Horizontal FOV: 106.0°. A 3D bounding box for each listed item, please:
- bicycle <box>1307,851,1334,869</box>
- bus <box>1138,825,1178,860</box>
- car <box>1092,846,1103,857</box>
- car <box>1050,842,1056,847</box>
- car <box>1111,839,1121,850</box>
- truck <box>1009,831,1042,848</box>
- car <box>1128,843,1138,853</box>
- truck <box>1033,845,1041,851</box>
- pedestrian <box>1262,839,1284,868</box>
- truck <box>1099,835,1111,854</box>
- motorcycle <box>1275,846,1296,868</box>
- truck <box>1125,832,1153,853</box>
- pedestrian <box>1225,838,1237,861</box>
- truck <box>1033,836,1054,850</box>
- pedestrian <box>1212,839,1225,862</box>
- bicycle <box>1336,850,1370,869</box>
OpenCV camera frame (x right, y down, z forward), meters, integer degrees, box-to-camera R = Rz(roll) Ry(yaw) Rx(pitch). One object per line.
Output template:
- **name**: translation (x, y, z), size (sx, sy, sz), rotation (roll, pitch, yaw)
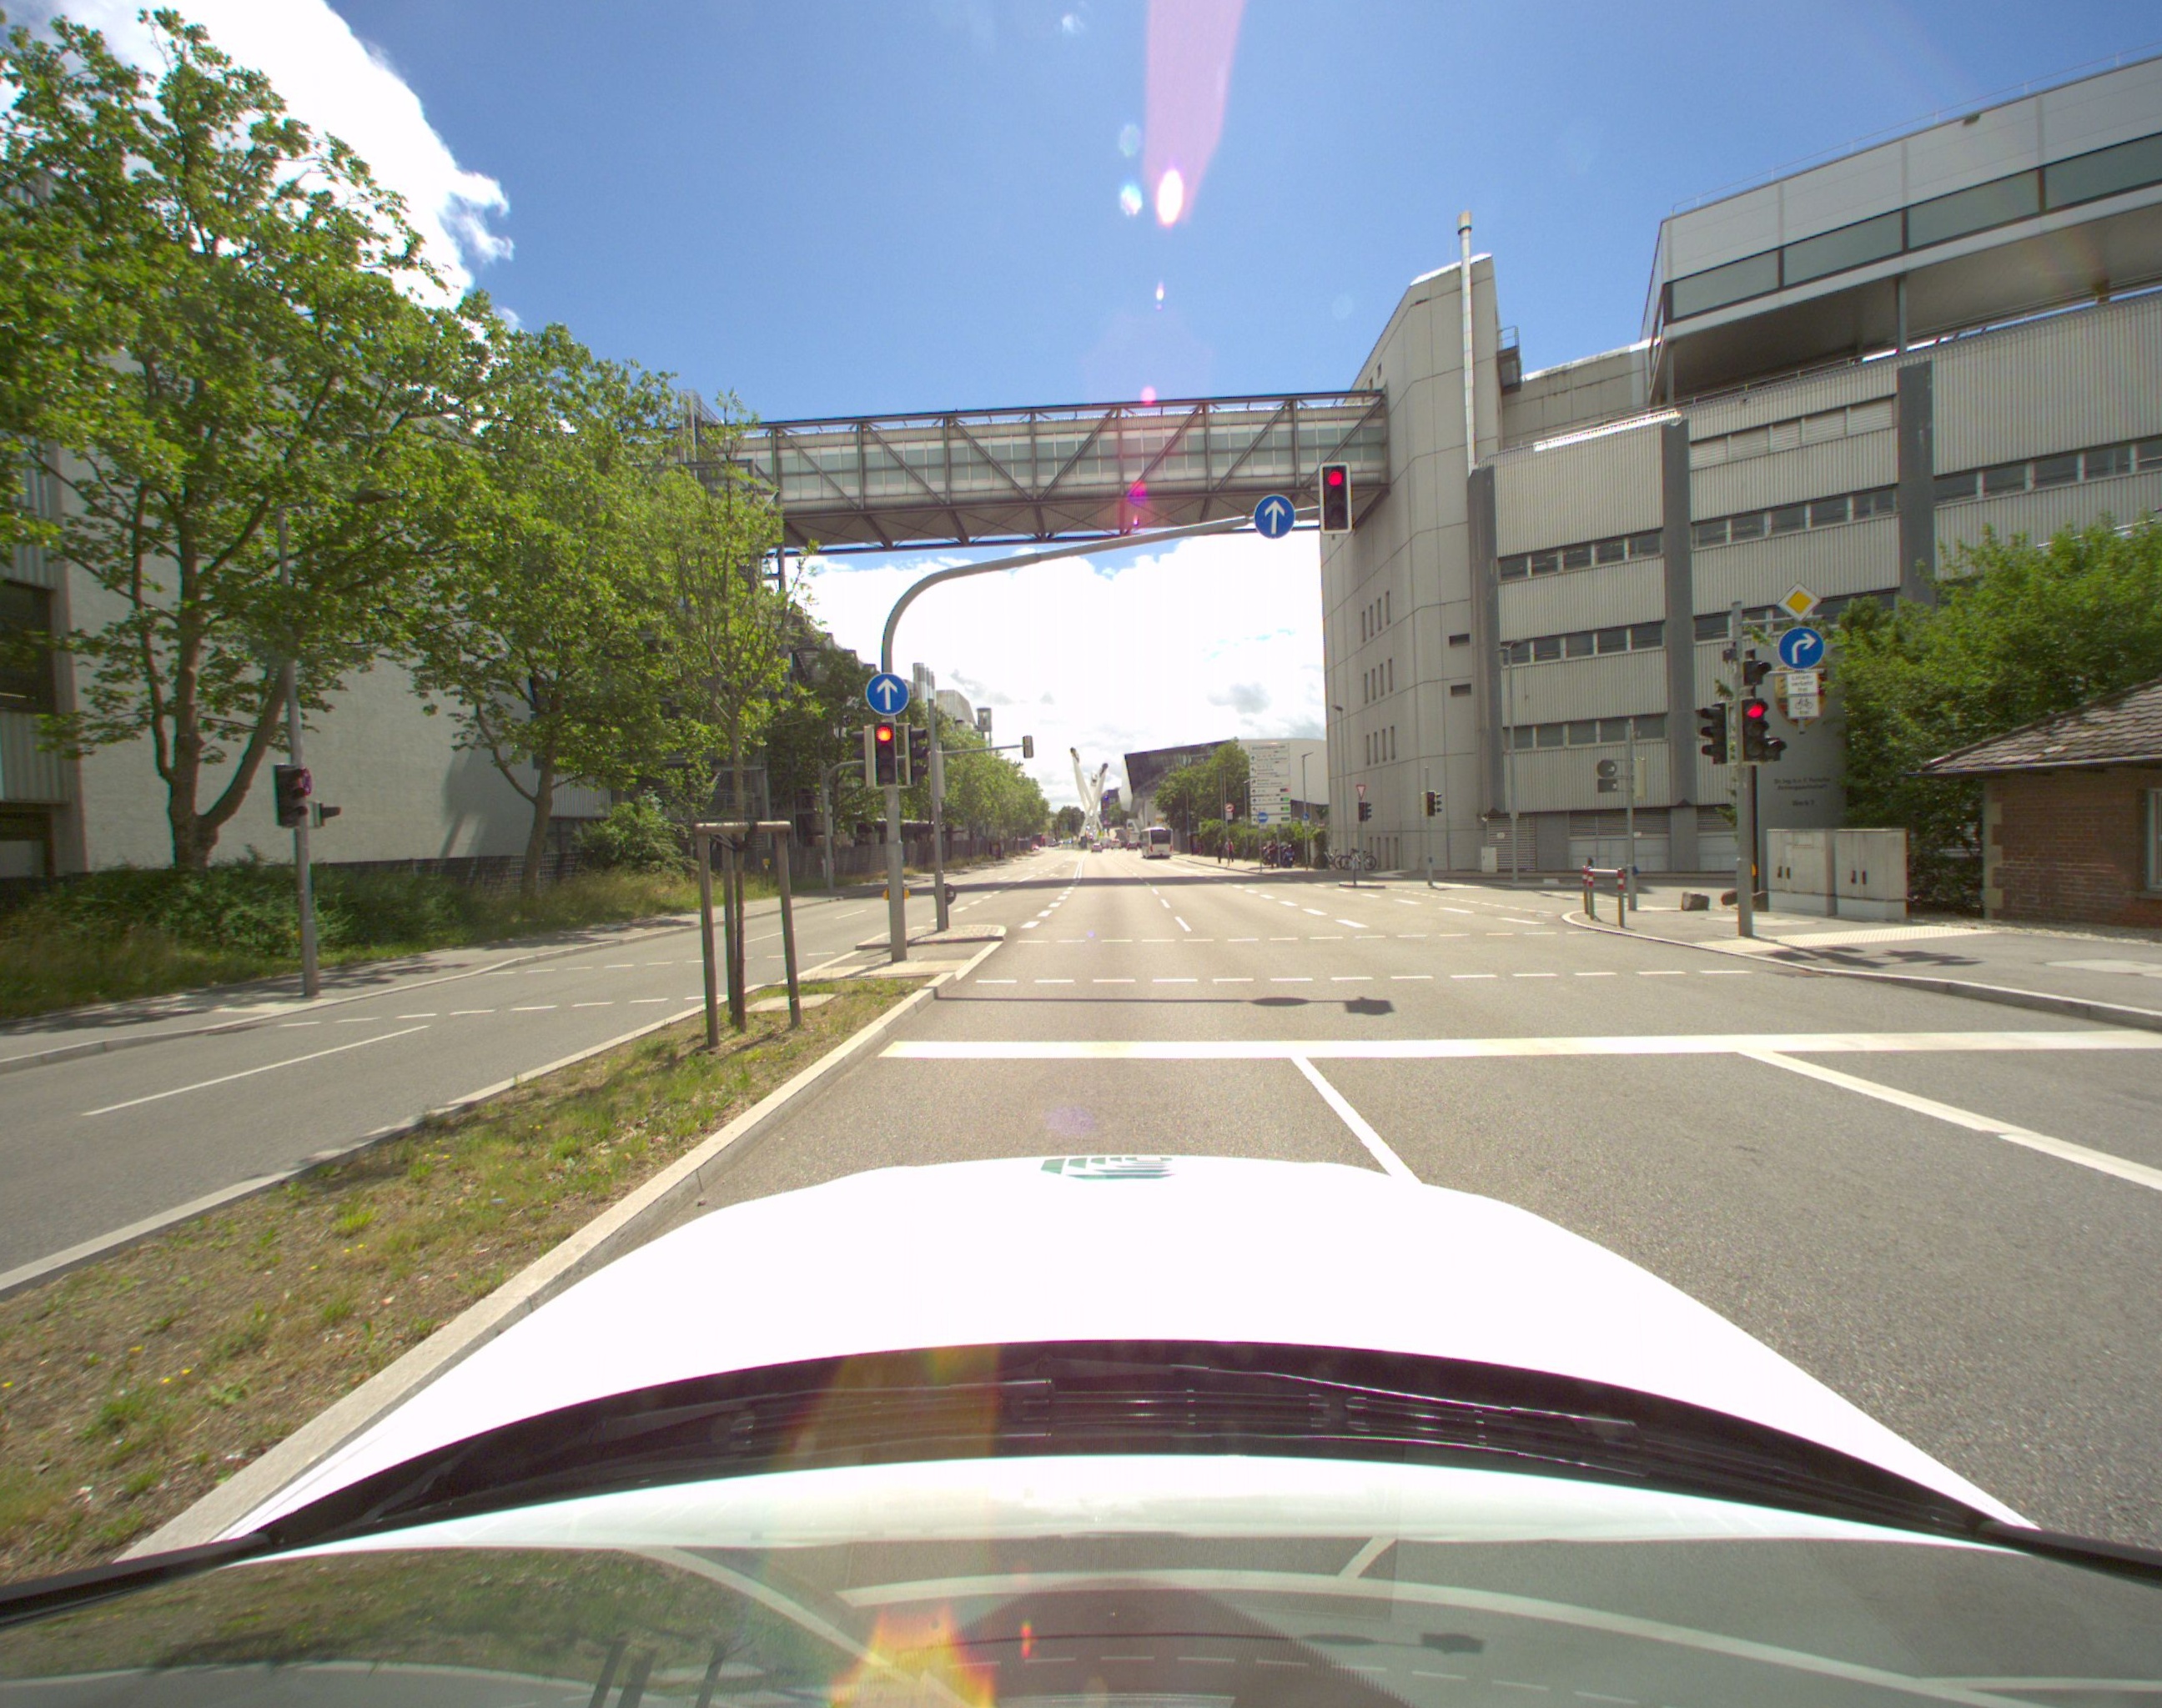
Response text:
- **bicycle**: translation (12.546, 0.305, 42.721), size (0.398, 0.937, 1.917), rotation (-1, 0, -17)
- **bus**: translation (8.412, -1.228, 90.297), size (3.441, 3.543, 10.606), rotation (-1, 0, 1)
- **car**: translation (2.733, -0.451, 134.504), size (1.732, 1.741, 3.693), rotation (-1, 0, 2)
- **car**: translation (-7.832, -2.655, 229.686), size (1.579, 1.537, 3.675), rotation (-1, 0, -3)
- **car**: translation (7.061, -1.928, 165.387), size (1.986, 2.014, 4.001), rotation (0, -1, 1)
- **truck**: translation (-14.926, -3.861, 220.331), size (3.531, 4.324, 12.235), rotation (-1, -1, 24)
- **car**: translation (9.343, -1.045, 146.111), size (1.732, 1.741, 3.693), rotation (-1, 0, 2)
- **truck**: translation (-11.117, -1.460, 204.522), size (1.584, 1.537, 3.665), rotation (-1, 0, -11)
- **pedestrian**: translation (10.967, -0.049, 46.500), size (0.839, 1.624, 0.962), rotation (-1, 0, 43)
- **truck**: translation (5.141, -2.012, 174.150), size (2.383, 3.897, 6.180), rotation (-1, 0, 2)
- **motorcycle**: translation (11.708, 0.162, 46.665), size (0.704, 1.203, 2.025), rotation (-3, 1, 2)
- **truck**: translation (12.457, -2.435, 173.274), size (3.424, 4.391, 9.466), rotation (-1, 0, 19)
- **pedestrian**: translation (11.457, -0.371, 62.272), size (0.817, 1.741, 0.637), rotation (-1, 0, 1)
- **truck**: translation (-10.938, -3.130, 238.708), size (2.453, 3.894, 7.125), rotation (-1, -1, 35)
- **pedestrian**: translation (10.547, -0.280, 62.478), size (0.817, 1.707, 0.881), rotation (-1, 0, 1)
- **bicycle**: translation (13.491, 0.272, 40.410), size (0.399, 0.937, 1.913), rotation (-1, 0, -24)
